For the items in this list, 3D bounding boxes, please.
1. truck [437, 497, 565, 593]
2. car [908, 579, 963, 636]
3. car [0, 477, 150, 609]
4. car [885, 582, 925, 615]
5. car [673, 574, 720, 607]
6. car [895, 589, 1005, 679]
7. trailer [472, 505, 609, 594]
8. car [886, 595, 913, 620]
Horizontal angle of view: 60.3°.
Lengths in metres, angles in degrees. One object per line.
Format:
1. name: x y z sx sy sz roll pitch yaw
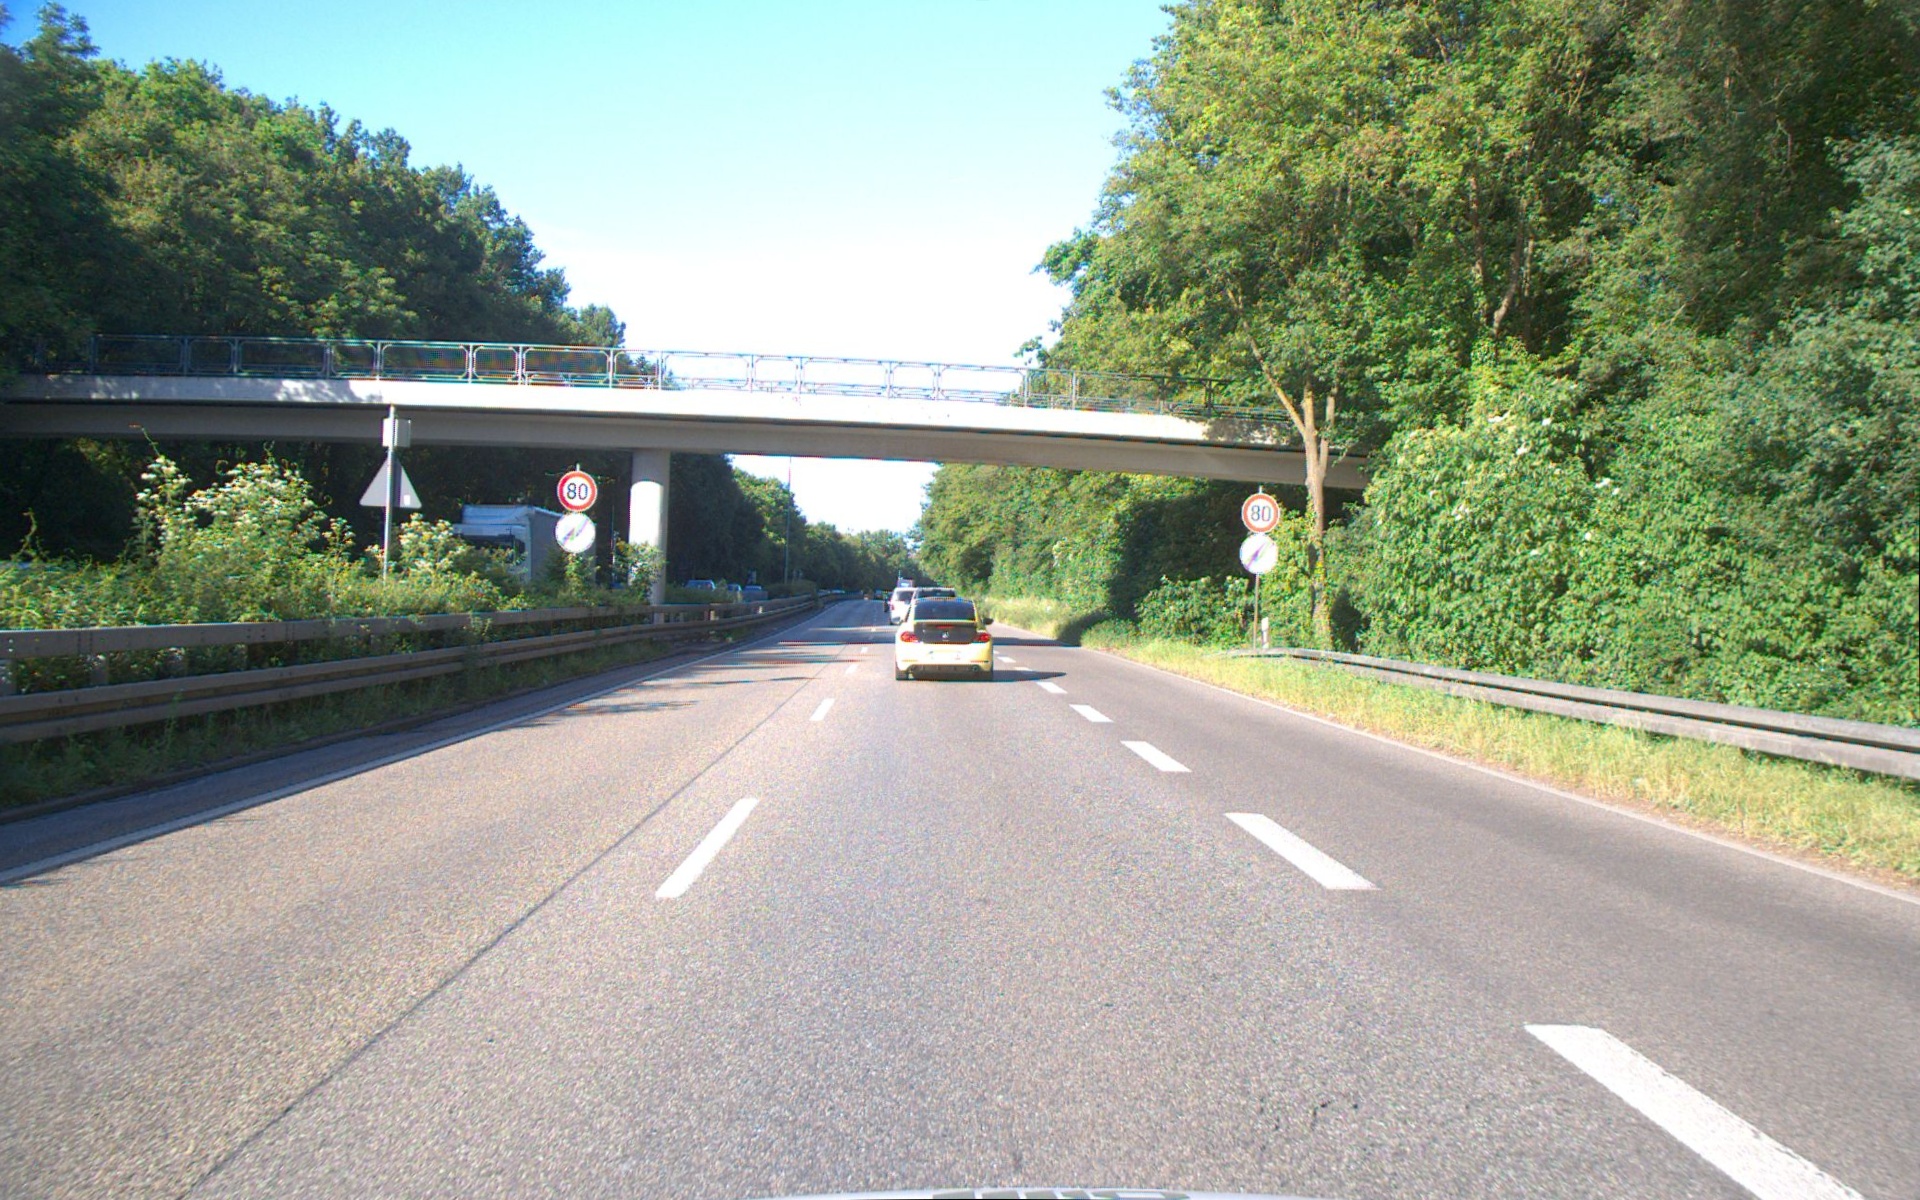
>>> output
1. truck: -16.773 -1.919 60.911 2.870 3.223 7.080 1 0 -2
2. car: -0.899 0.260 58.184 1.707 1.861 3.420 4 0 -3
3. car: -15.481 -0.887 27.628 1.953 2.049 3.999 1 0 -1
4. car: -2.706 -0.086 81.363 1.900 1.572 3.421 1 0 -2
5. car: -14.364 -0.508 90.494 1.953 1.716 4.738 1 0 -2
6. car: -0.147 0.590 30.456 1.899 1.535 3.422 1 0 1
7. trailer: -16.945 -1.907 67.765 2.870 3.223 11.912 1 0 -2
8. car: -4.510 0.533 123.138 1.954 1.780 4.370 1 0 -3
